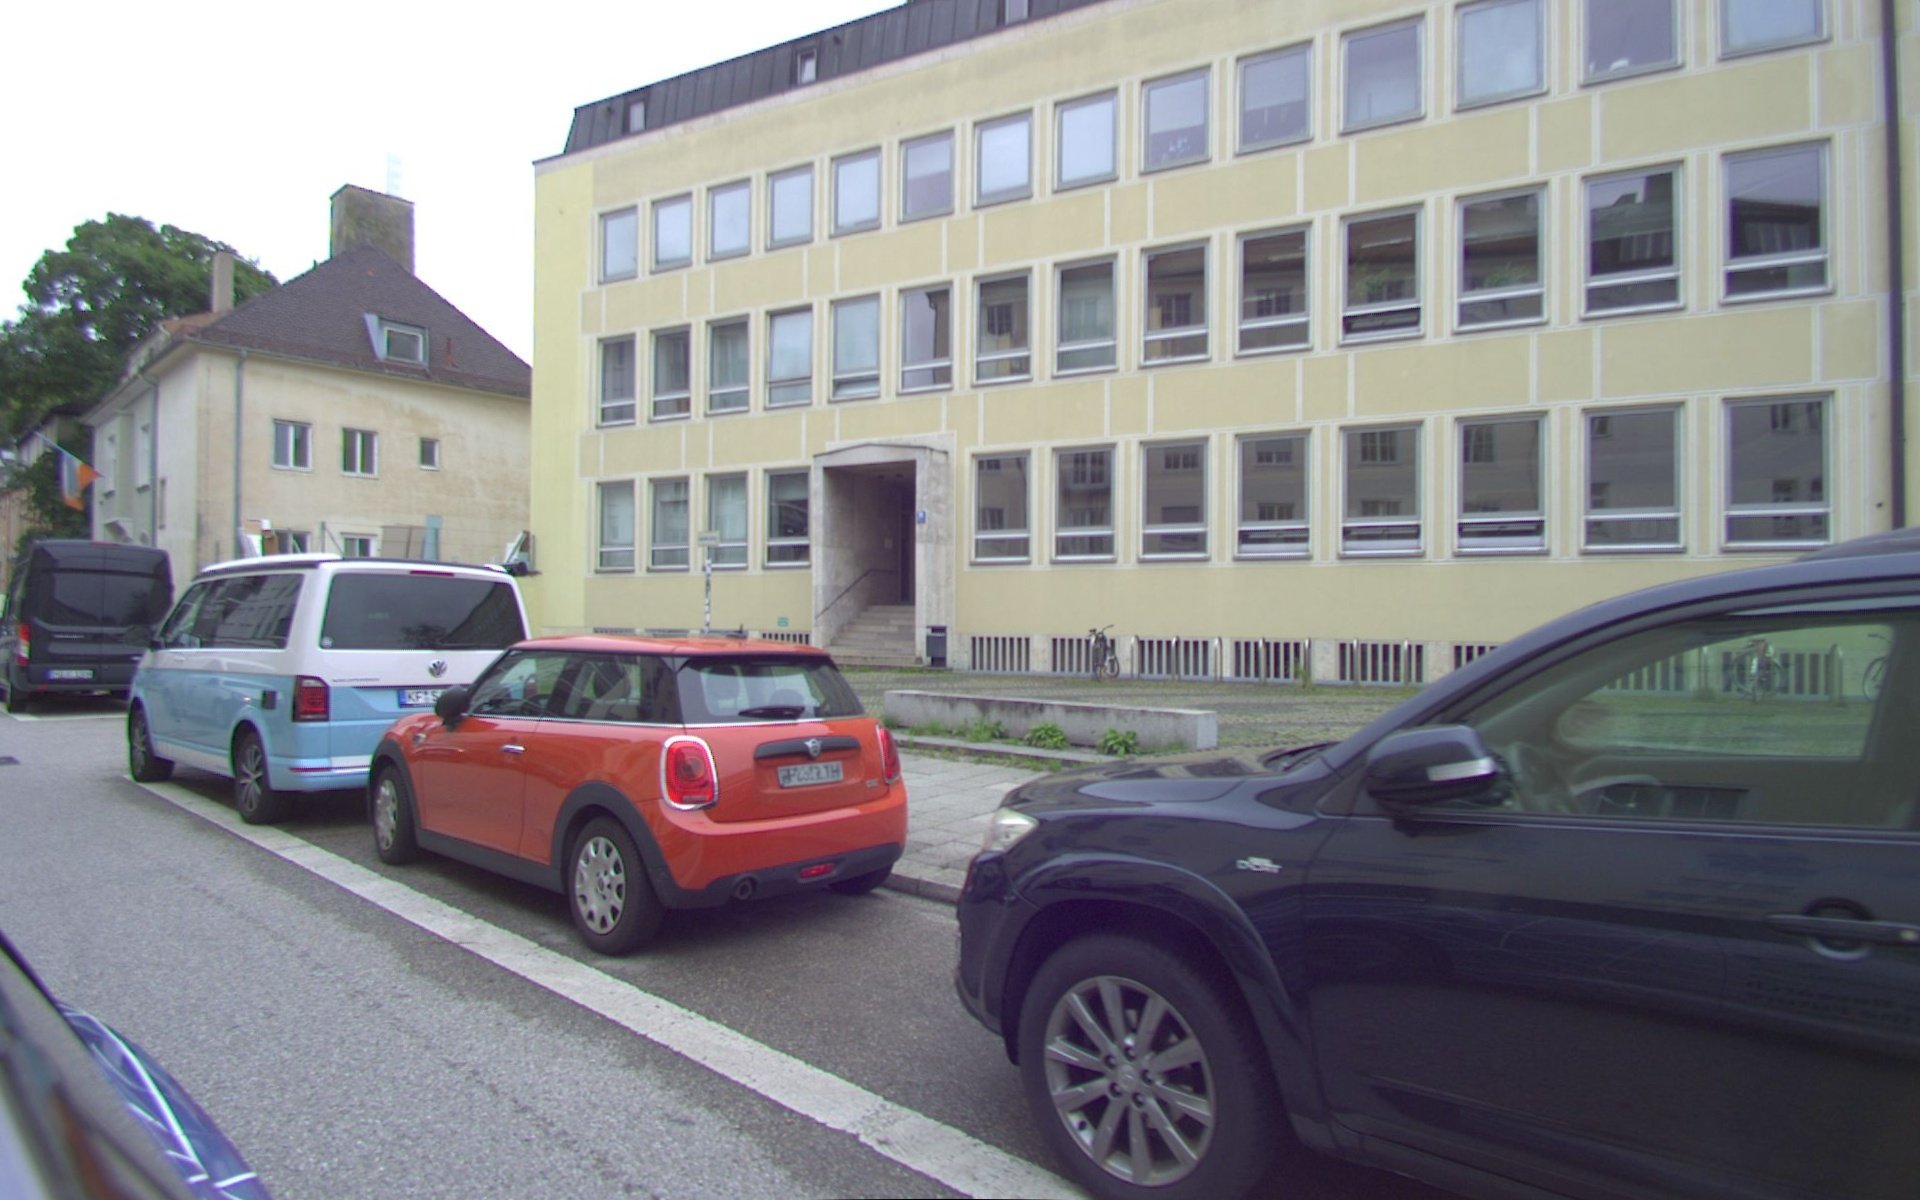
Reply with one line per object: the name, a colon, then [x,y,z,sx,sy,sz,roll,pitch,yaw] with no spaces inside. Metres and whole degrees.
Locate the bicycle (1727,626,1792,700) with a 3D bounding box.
bicycle: [11.336,0.871,14.378,0.364,0.962,1.519,-1,-1,25]

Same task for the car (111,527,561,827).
car: [-5.565,0.580,8.781,4.596,1.946,1.864,-1,-4,39]

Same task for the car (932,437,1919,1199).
car: [2.000,0.636,2.221,4.025,1.704,1.684,-1,-4,40]

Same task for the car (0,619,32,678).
car: [-27.603,1.323,28.556,4.542,1.550,1.746,-1,-3,44]

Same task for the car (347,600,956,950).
car: [-1.938,0.764,5.841,3.650,1.383,1.635,-1,-4,40]

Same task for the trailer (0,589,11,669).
trailer: [-31.963,0.901,32.628,4.387,2.480,1.690,-1,-4,44]

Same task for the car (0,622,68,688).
car: [-22.749,1.259,24.079,3.820,1.457,1.684,-1,-1,39]

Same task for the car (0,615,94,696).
car: [-19.382,1.091,20.777,3.535,1.550,1.572,-1,-1,35]

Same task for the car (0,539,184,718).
car: [-15.441,0.516,17.669,5.376,2.656,2.065,-2,-3,43]

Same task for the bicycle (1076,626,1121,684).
bicycle: [2.500,0.967,18.200,0.364,0.962,1.519,-1,-1,25]

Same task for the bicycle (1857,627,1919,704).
bicycle: [12.685,0.859,13.699,0.364,0.962,1.519,-1,-1,25]
